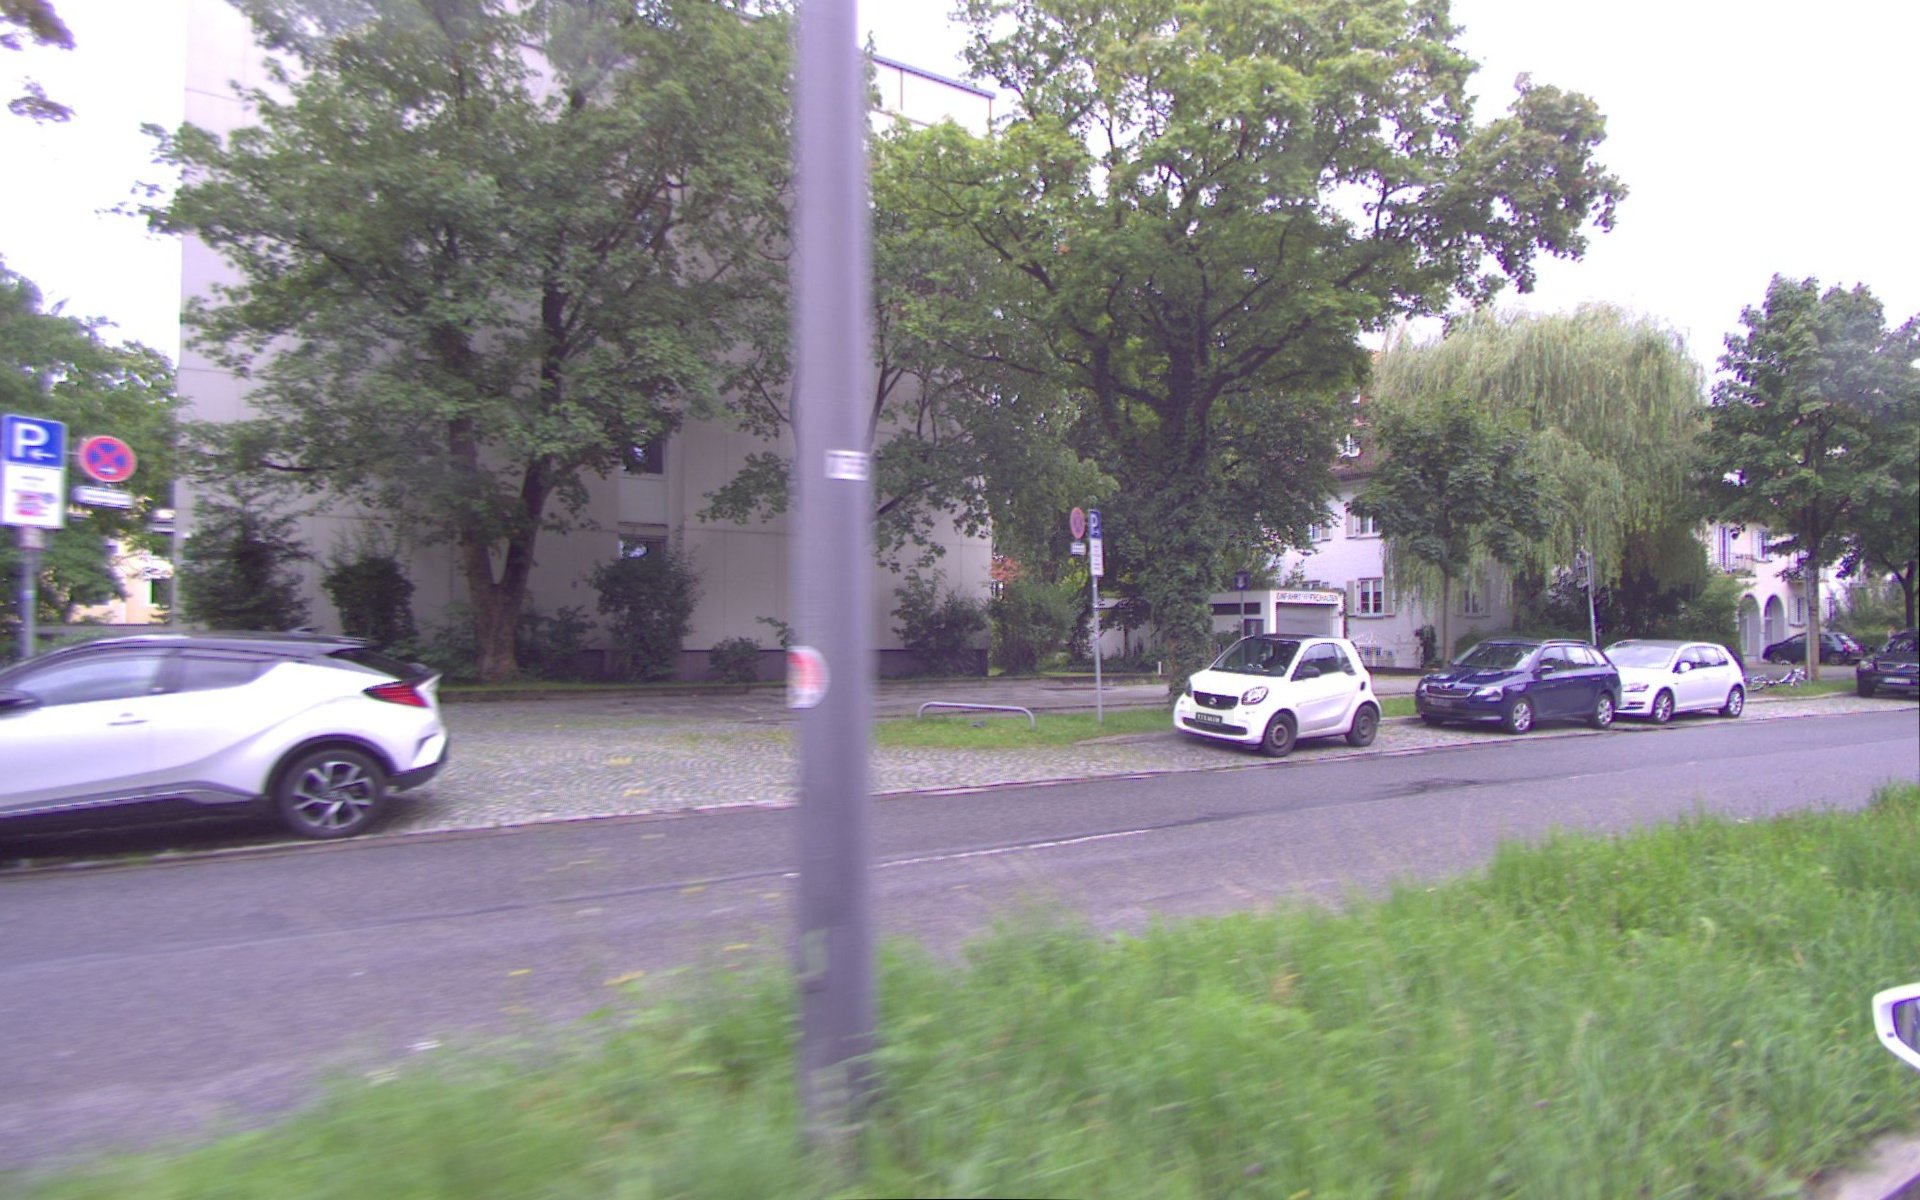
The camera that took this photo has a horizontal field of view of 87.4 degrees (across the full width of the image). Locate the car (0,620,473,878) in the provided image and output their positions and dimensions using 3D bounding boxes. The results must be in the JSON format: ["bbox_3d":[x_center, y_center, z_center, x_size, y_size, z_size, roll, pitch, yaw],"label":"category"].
[{"bbox_3d":[-6.238,1.008,7.671,4.437,1.631,1.824,1,1,-30],"label":"car"}]

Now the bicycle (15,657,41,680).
[{"bbox_3d":[-38.373,2.828,41.358,0.410,0.893,1.439,1,-2,-29],"label":"bicycle"}]

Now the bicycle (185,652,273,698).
[{"bbox_3d":[-15.233,1.550,20.961,1.433,0.912,0.456,1,-2,-30],"label":"bicycle"}]

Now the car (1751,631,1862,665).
[{"bbox_3d":[39.098,2.185,46.454,1.653,1.481,3.614,1,-2,-32],"label":"car"}]

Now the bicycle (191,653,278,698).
[{"bbox_3d":[-15.437,1.601,21.410,1.433,0.912,0.456,1,-2,-30],"label":"bicycle"}]

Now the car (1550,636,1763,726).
[{"bbox_3d":[13.439,1.481,19.337,4.268,1.462,1.667,1,1,-30],"label":"car"}]

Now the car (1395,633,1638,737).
[{"bbox_3d":[9.441,1.347,16.986,4.165,1.495,1.666,1,1,-30],"label":"car"}]

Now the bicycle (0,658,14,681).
[{"bbox_3d":[-38.955,2.804,40.813,0.410,0.893,1.439,1,-2,-29],"label":"bicycle"}]

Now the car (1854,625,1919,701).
[{"bbox_3d":[25.267,1.599,26.129,5.005,1.787,1.785,1,1,-34],"label":"car"}]

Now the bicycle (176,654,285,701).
[{"bbox_3d":[-14.843,1.561,20.484,1.745,0.912,0.475,1,-2,-30],"label":"bicycle"}]

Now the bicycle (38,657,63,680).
[{"bbox_3d":[-37.702,2.844,41.655,0.410,0.893,1.439,1,-2,-29],"label":"bicycle"}]

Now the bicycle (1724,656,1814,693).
[{"bbox_3d":[21.380,1.951,26.565,1.387,0.840,1.445,1,0,-30],"label":"bicycle"}]

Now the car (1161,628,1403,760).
[{"bbox_3d":[4.573,1.241,14.224,3.045,1.586,1.681,1,1,-32],"label":"car"}]
